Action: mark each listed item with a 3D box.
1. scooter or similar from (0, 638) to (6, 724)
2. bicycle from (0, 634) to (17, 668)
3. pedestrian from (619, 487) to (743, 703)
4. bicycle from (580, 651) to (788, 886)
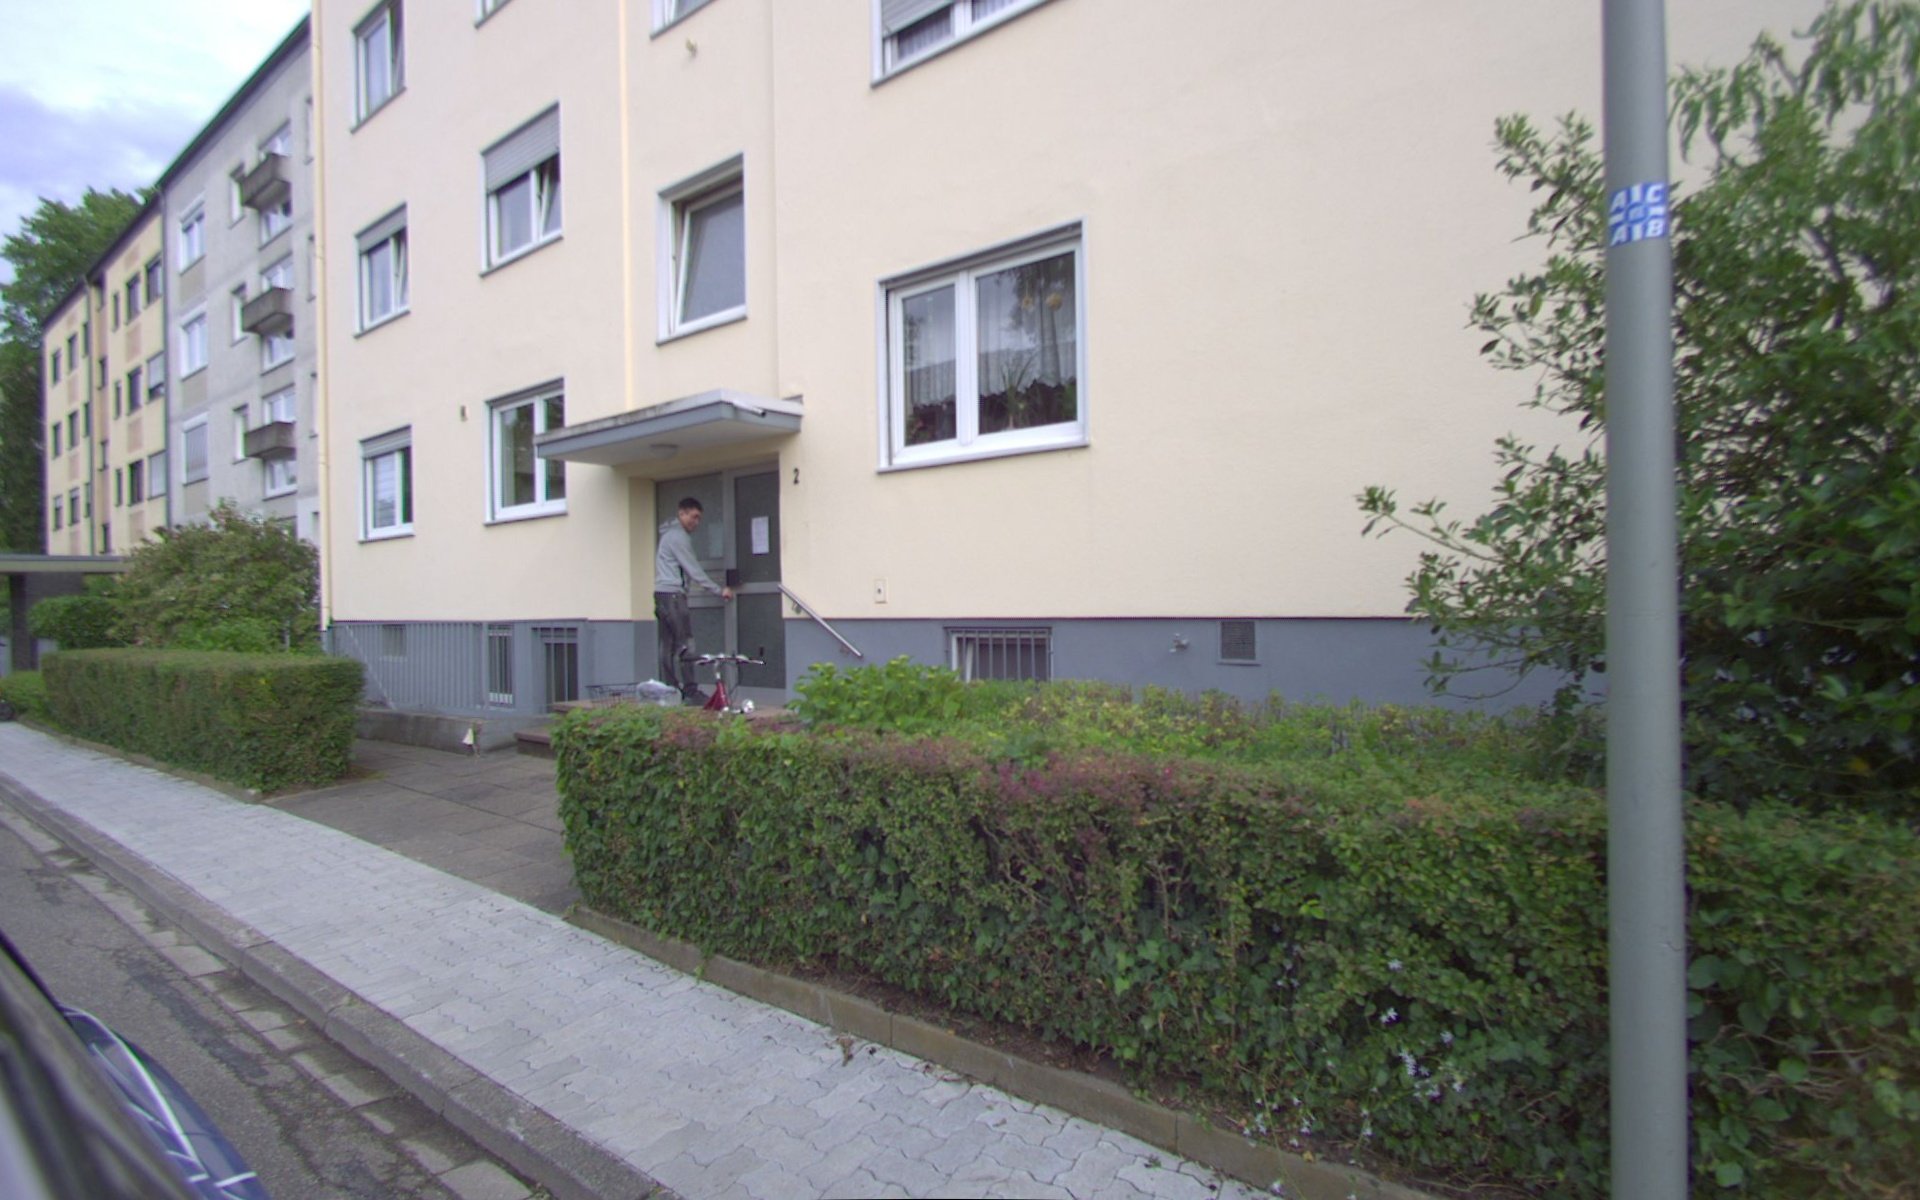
[{"bbox_3d":[-14.161,1.170,14.715,1.163,1.220,0.270,-2,-1,39],"label":"scooter or similar"},{"bbox_3d":[-30.794,1.650,32.643,1.689,1.059,0.312,-4,-3,39],"label":"bicycle"},{"bbox_3d":[-2.401,-0.041,8.724,0.755,1.762,0.673,-2,0,36],"label":"pedestrian"},{"bbox_3d":[-1.517,0.837,5.439,1.417,1.084,0.315,-1,0,41],"label":"bicycle"}]
